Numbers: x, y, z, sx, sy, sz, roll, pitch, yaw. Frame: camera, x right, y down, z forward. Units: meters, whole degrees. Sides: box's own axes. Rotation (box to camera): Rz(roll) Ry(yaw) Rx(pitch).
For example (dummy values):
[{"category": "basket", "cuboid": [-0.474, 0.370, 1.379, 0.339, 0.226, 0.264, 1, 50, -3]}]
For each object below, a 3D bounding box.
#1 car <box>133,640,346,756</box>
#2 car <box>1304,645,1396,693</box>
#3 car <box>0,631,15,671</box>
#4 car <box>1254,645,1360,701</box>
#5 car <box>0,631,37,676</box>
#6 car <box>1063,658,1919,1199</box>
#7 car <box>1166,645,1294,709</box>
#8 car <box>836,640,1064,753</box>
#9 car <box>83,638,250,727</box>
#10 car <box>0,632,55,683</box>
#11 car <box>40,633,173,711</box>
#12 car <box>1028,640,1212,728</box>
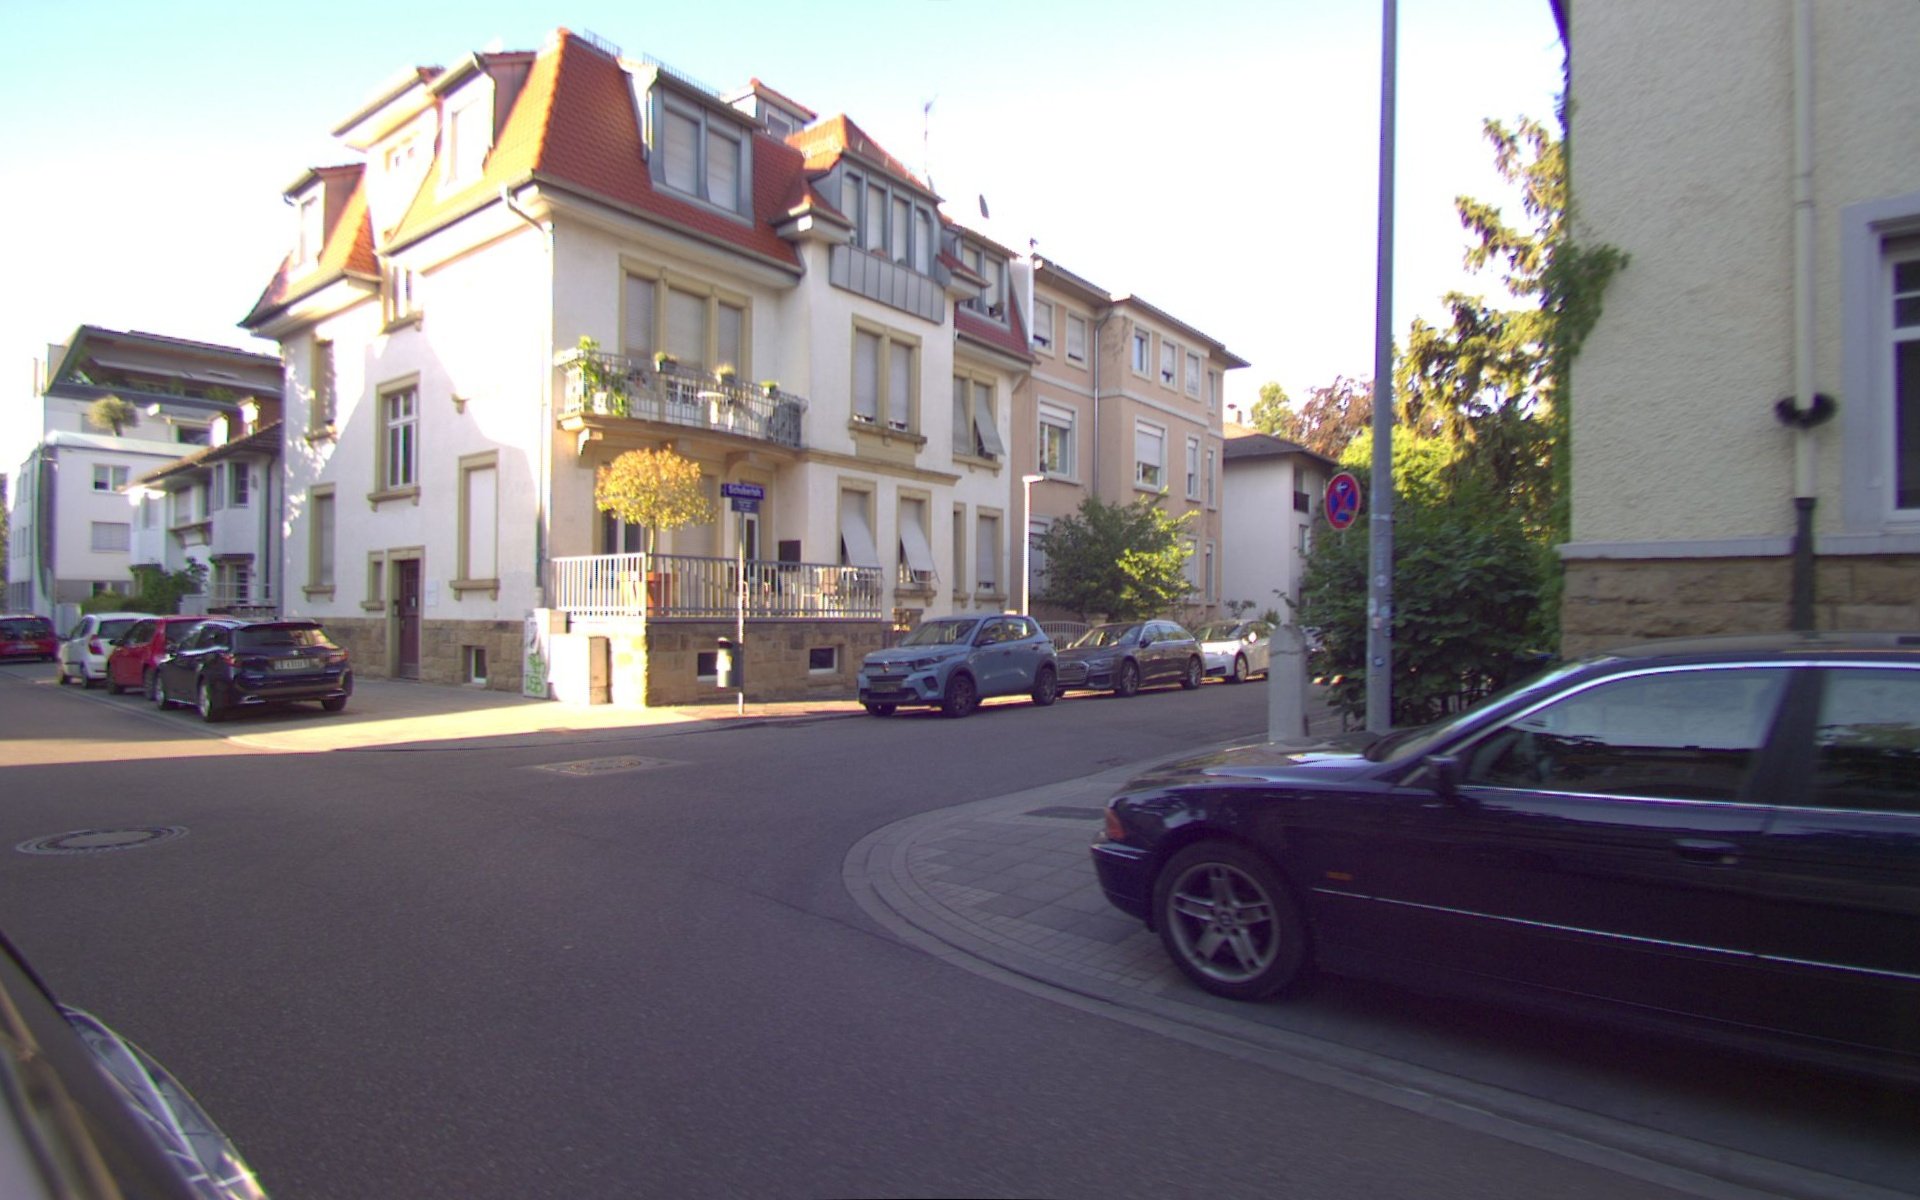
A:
[{"category": "car", "cuboid": [-11.135, 1.377, 15.516, 4.628, 1.465, 1.636, -2, -2, 41]}, {"category": "car", "cuboid": [12.463, 2.162, 32.225, 1.679, 1.441, 3.908, -3, -4, 37]}, {"category": "car", "cuboid": [-38.244, 1.971, 39.201, 4.559, 1.470, 1.722, -1, -1, 38]}, {"category": "car", "cuboid": [9.869, 2.016, 28.615, 1.679, 1.441, 3.908, -3, -4, 37]}, {"category": "car", "cuboid": [-33.740, 1.838, 35.345, 4.376, 1.470, 1.720, -2, -1, 41]}, {"category": "car", "cuboid": [2.772, 0.973, 3.496, 4.628, 1.481, 1.692, -3, -3, 39]}, {"category": "car", "cuboid": [6.720, 1.845, 24.976, 1.679, 1.441, 3.908, -3, -4, 37]}, {"category": "car", "cuboid": [-0.054, 1.442, 16.134, 1.758, 1.571, 3.728, -3, -4, 36]}, {"category": "car", "cuboid": [-14.941, 1.469, 18.999, 3.700, 1.488, 1.567, -1, -2, 37]}, {"category": "car", "cuboid": [-29.566, 1.765, 31.581, 3.428, 1.494, 1.633, -2, -1, 42]}, {"category": "car", "cuboid": [-18.505, 1.487, 21.890, 3.703, 1.532, 1.565, -1, -2, 40]}, {"category": "car", "cuboid": [3.325, 1.605, 20.339, 1.759, 1.571, 4.434, -3, -4, 37]}]
